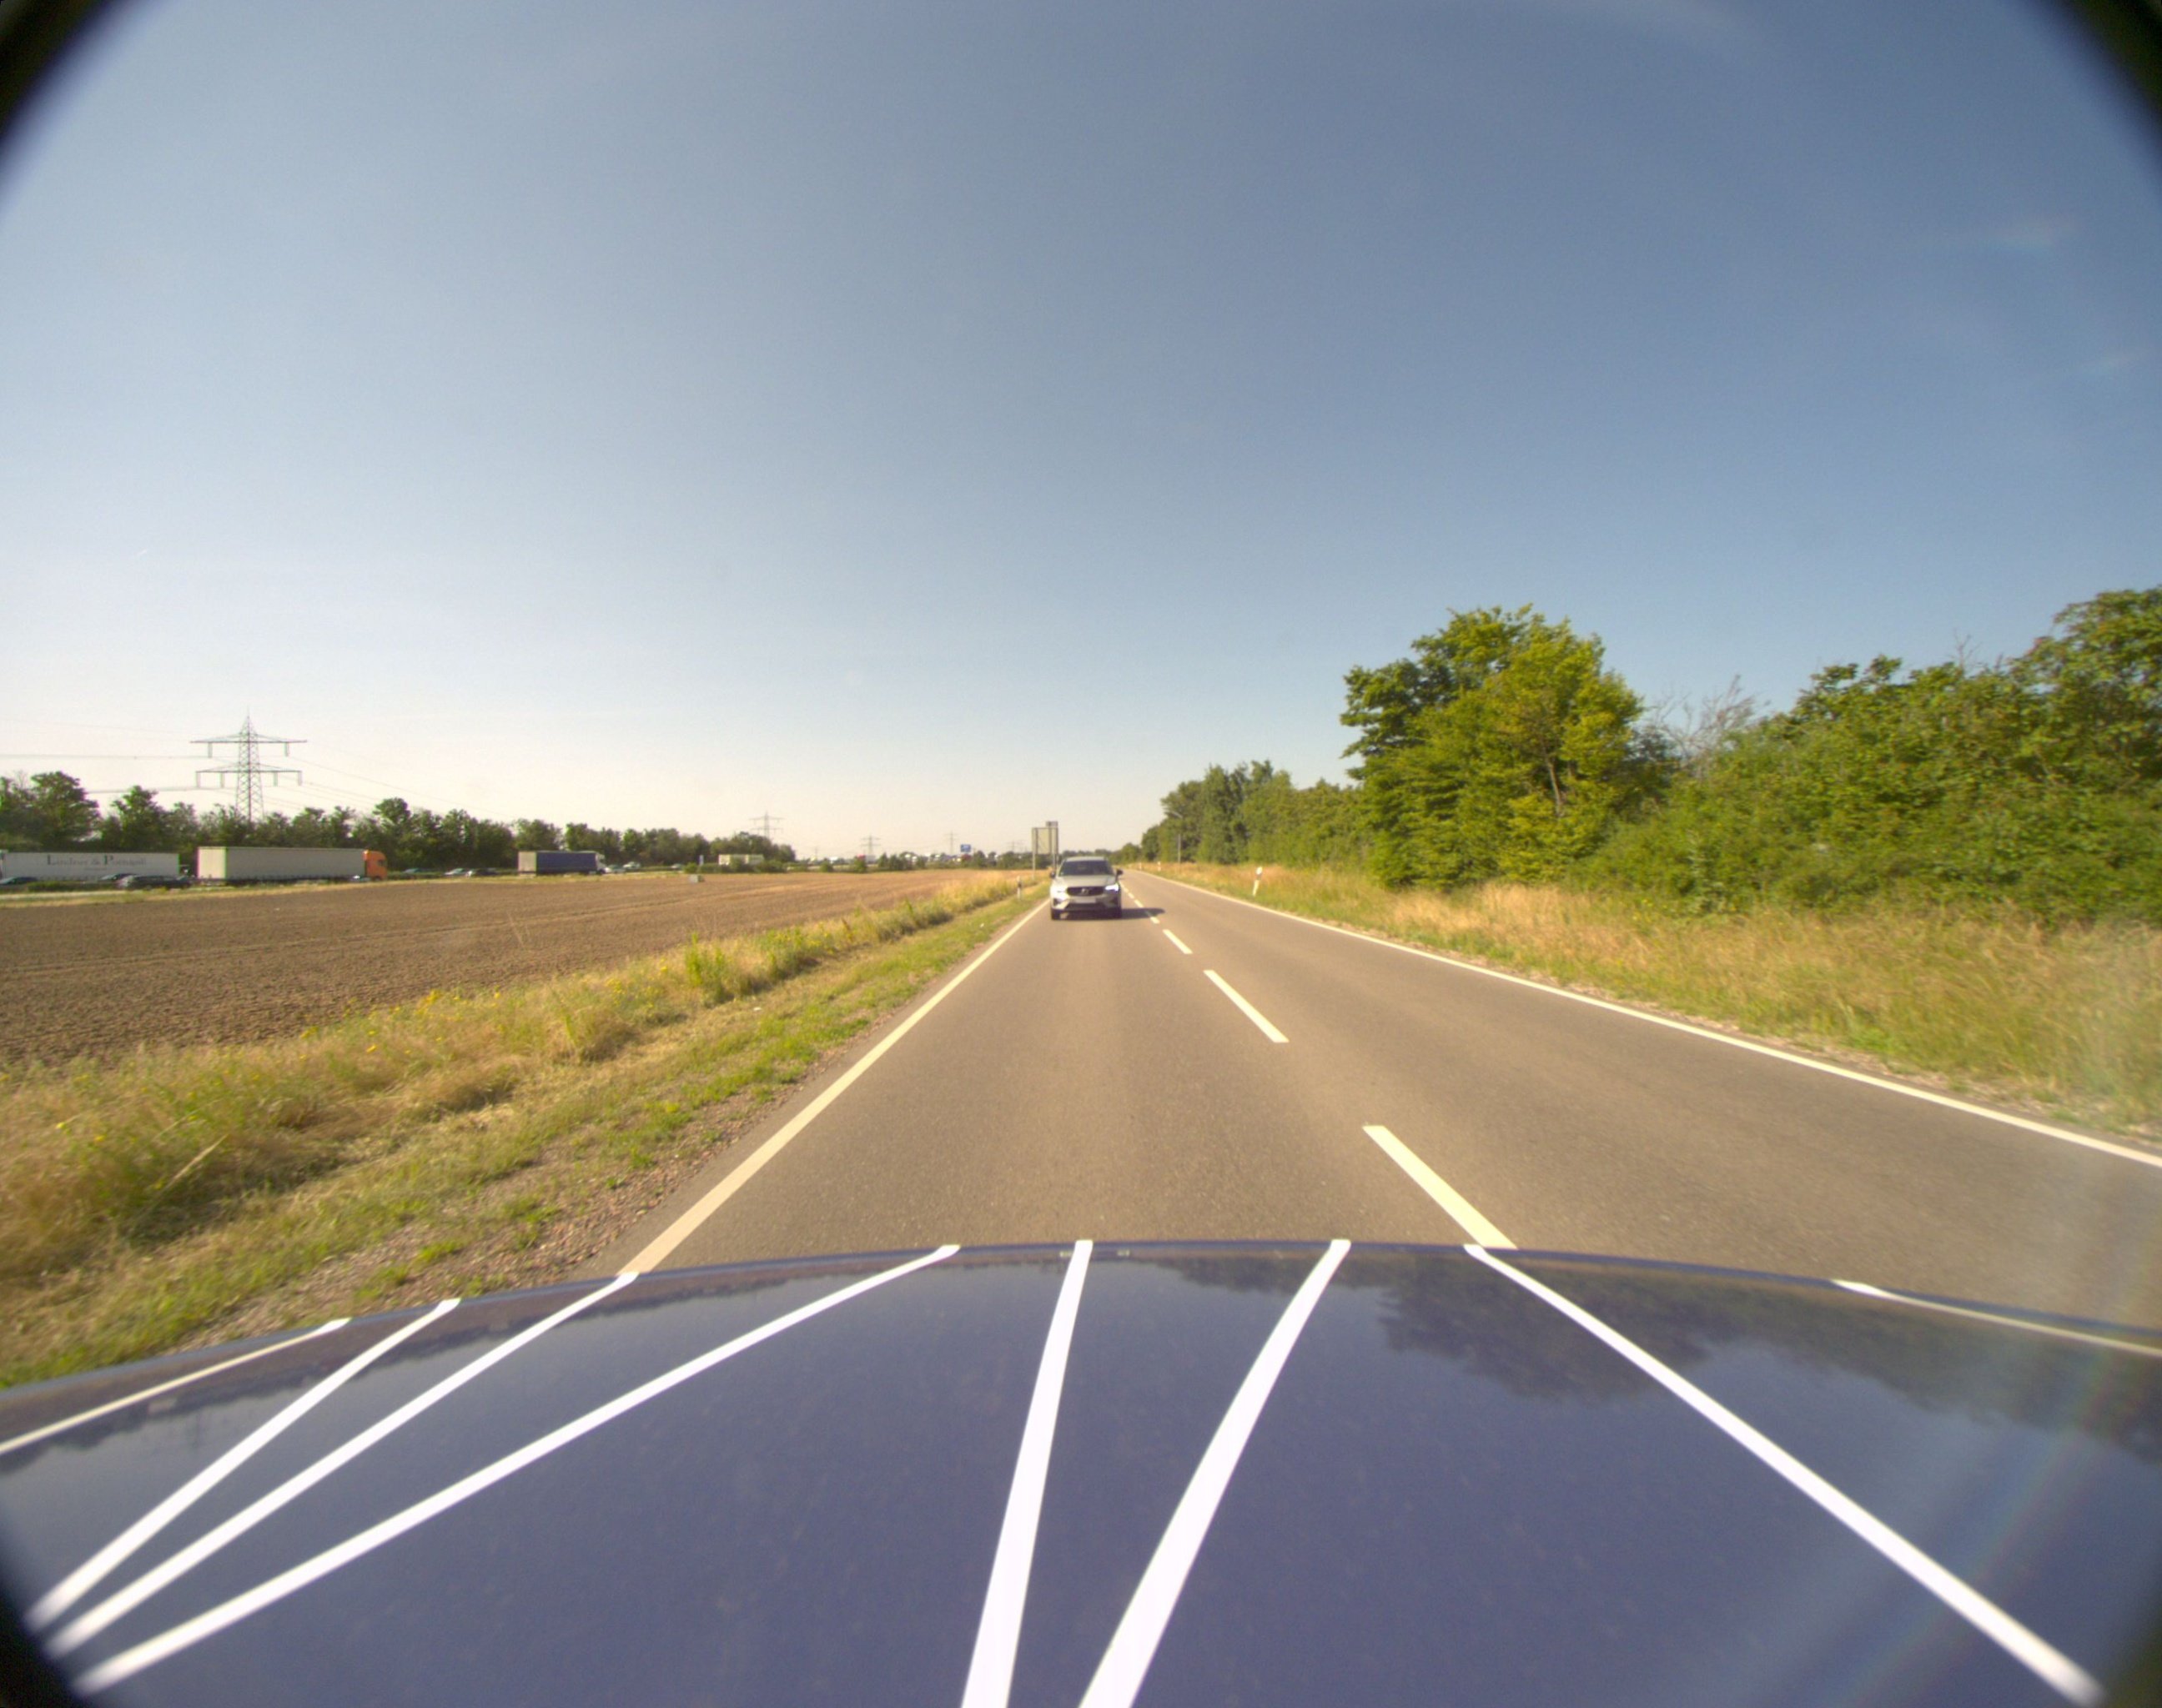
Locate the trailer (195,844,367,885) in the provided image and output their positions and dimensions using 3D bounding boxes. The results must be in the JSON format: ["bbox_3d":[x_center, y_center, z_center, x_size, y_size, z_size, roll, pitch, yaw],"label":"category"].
[{"bbox_3d":[-82.416,0.971,79.046,3.111,3.826,13.719,-2,0,1],"label":"trailer"}]

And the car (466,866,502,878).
[{"bbox_3d":[-85.742,2.570,109.176,1.998,1.566,3.894,-3,0,1],"label":"car"}]

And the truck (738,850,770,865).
[{"bbox_3d":[-79.878,0.926,185.700,2.813,3.457,11.120,-1,0,0],"label":"truck"}]

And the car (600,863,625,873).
[{"bbox_3d":[-85.447,2.561,138.618,1.689,1.566,4.200,-3,0,1],"label":"car"}]

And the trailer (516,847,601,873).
[{"bbox_3d":[-81.014,0.848,118.435,3.080,3.780,14.591,-2,0,0],"label":"trailer"}]

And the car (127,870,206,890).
[{"bbox_3d":[-86.148,2.417,71.687,1.910,1.603,4.474,-3,0,3],"label":"car"}]

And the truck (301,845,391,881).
[{"bbox_3d":[-82.312,0.986,85.300,3.111,3.826,6.951,-2,0,1],"label":"truck"}]

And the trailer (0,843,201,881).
[{"bbox_3d":[-100.440,0.778,77.683,3.210,3.510,15.083,0,0,0],"label":"trailer"}]

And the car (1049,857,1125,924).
[{"bbox_3d":[0.213,0.929,21.156,1.840,1.627,4.136,-2,0,2],"label":"car"}]

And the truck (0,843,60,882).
[{"bbox_3d":[-100.497,0.768,70.537,3.210,3.510,6.109,0,0,0],"label":"truck"}]

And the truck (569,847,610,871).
[{"bbox_3d":[-81.043,0.848,125.453,3.080,3.780,5.611,-2,0,-1],"label":"truck"}]

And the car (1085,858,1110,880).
[{"bbox_3d":[1.252,1.116,58.470,1.840,1.627,4.135,-2,0,1],"label":"car"}]

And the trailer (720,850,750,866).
[{"bbox_3d":[-79.963,0.890,175.805,2.800,3.395,8.718,-1,0,0],"label":"trailer"}]
